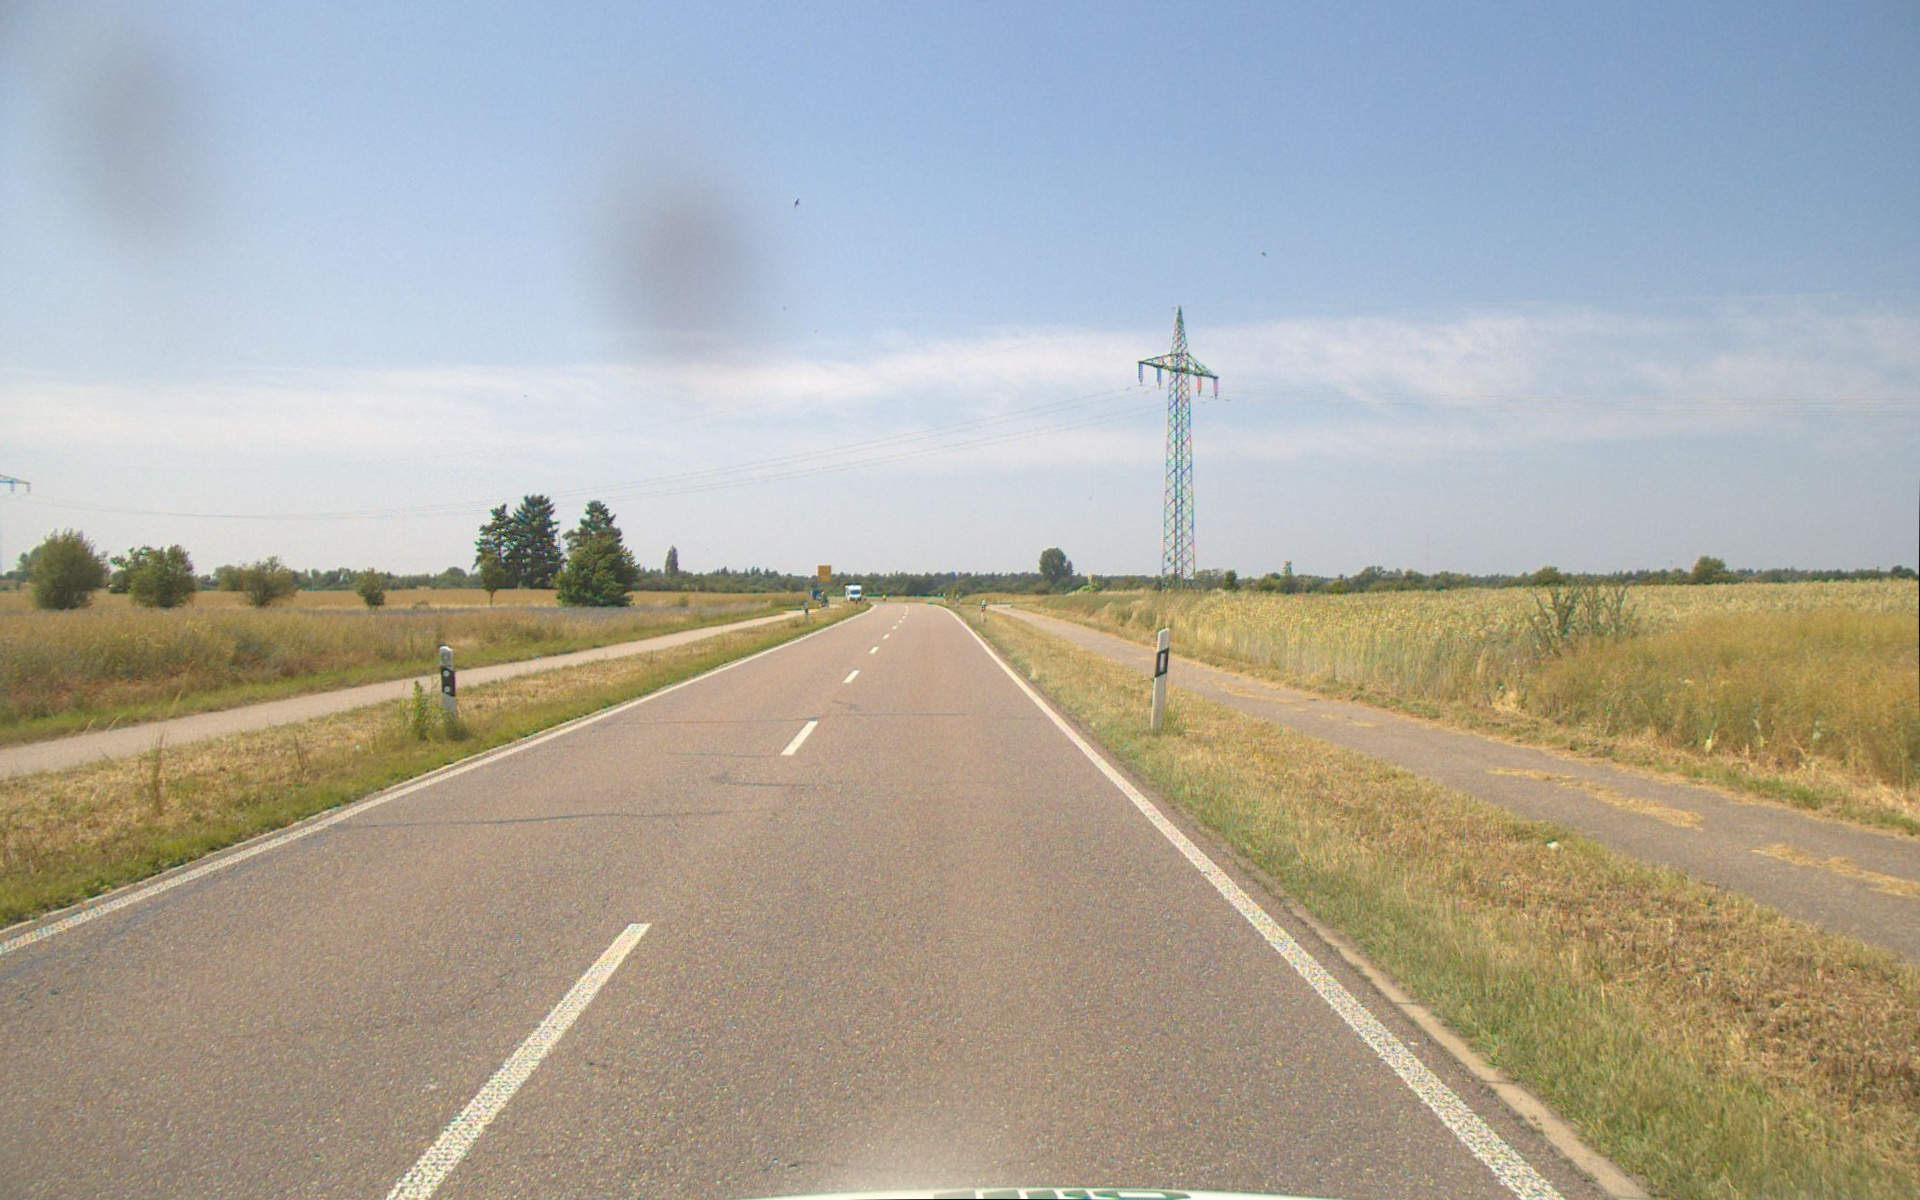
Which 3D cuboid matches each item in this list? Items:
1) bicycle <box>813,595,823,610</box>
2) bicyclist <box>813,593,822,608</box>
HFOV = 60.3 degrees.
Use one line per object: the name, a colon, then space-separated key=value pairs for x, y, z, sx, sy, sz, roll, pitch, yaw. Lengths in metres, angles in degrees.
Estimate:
bicycle: x=-12.539 y=0.234 z=146.221 sx=0.747 sy=1.250 sz=2.215 roll=-1 pitch=0 yaw=-2
bicyclist: x=-12.559 y=0.036 z=146.122 sx=0.687 sy=1.354 sz=0.965 roll=-1 pitch=0 yaw=-2
